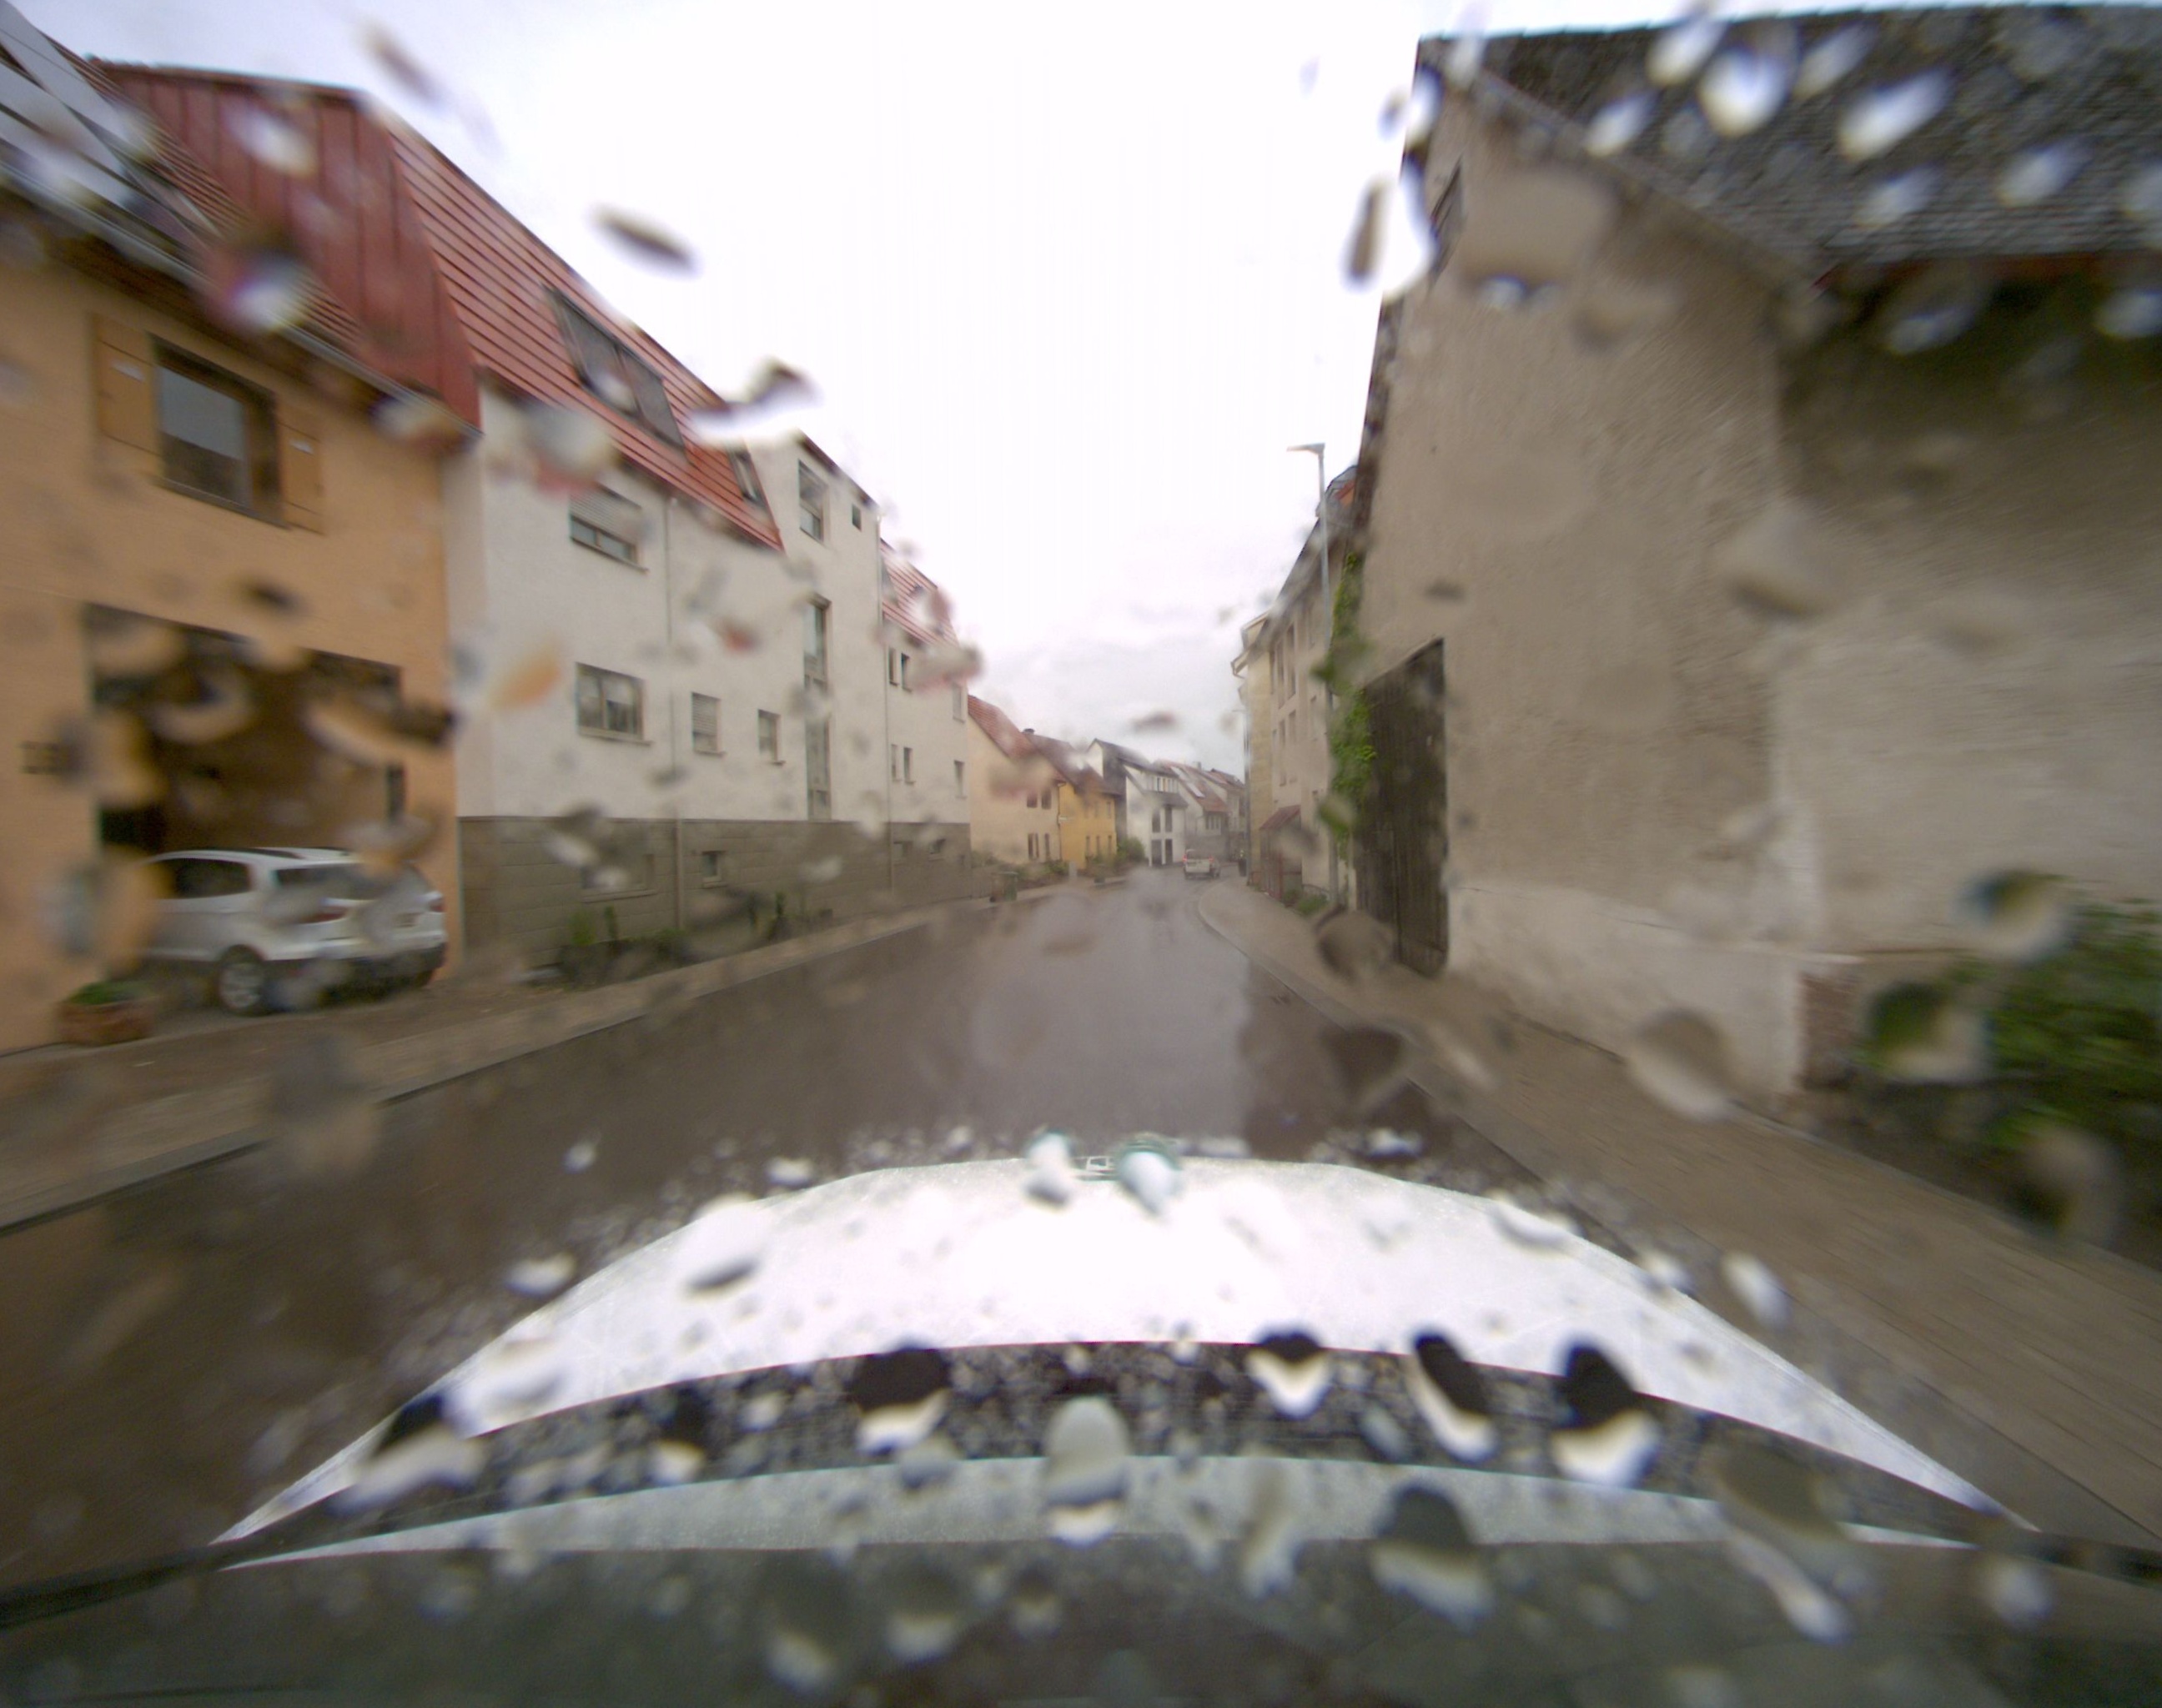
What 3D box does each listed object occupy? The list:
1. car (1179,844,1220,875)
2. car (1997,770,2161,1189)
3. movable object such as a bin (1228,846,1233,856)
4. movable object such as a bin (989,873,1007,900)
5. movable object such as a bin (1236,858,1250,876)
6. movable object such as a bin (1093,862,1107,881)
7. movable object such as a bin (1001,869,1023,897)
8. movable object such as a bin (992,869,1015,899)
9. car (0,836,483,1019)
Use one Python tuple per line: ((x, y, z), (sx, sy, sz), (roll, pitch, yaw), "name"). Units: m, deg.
((7.662, 0.350, 52.363), (2.180, 1.851, 4.319), (-2, 0, 13), "car")
((6.281, 0.387, 2.651), (4.197, 1.649, 1.905), (-3, 0, 5), "car")
((17.935, -0.358, 97.632), (0.514, 1.122, 0.638), (-1, -1, 15), "movable object such as a bin")
((-2.970, 1.159, 29.283), (0.503, 0.922, 0.580), (0, 0, 9), "movable object such as a bin")
((10.648, 0.825, 53.519), (0.761, 1.173, 1.548), (-1, -1, 17), "movable object such as a bin")
((1.093, 0.991, 47.235), (0.655, 1.056, 0.766), (1, 0, 13), "movable object such as a bin")
((-2.614, 1.100, 30.778), (0.677, 1.045, 0.663), (0, 0, 11), "movable object such as a bin")
((-2.857, 1.099, 29.966), (0.677, 1.066, 0.697), (0, 0, 11), "movable object such as a bin")
((-9.330, 0.709, 9.146), (3.964, 1.670, 1.883), (2, 0, 8), "car")
